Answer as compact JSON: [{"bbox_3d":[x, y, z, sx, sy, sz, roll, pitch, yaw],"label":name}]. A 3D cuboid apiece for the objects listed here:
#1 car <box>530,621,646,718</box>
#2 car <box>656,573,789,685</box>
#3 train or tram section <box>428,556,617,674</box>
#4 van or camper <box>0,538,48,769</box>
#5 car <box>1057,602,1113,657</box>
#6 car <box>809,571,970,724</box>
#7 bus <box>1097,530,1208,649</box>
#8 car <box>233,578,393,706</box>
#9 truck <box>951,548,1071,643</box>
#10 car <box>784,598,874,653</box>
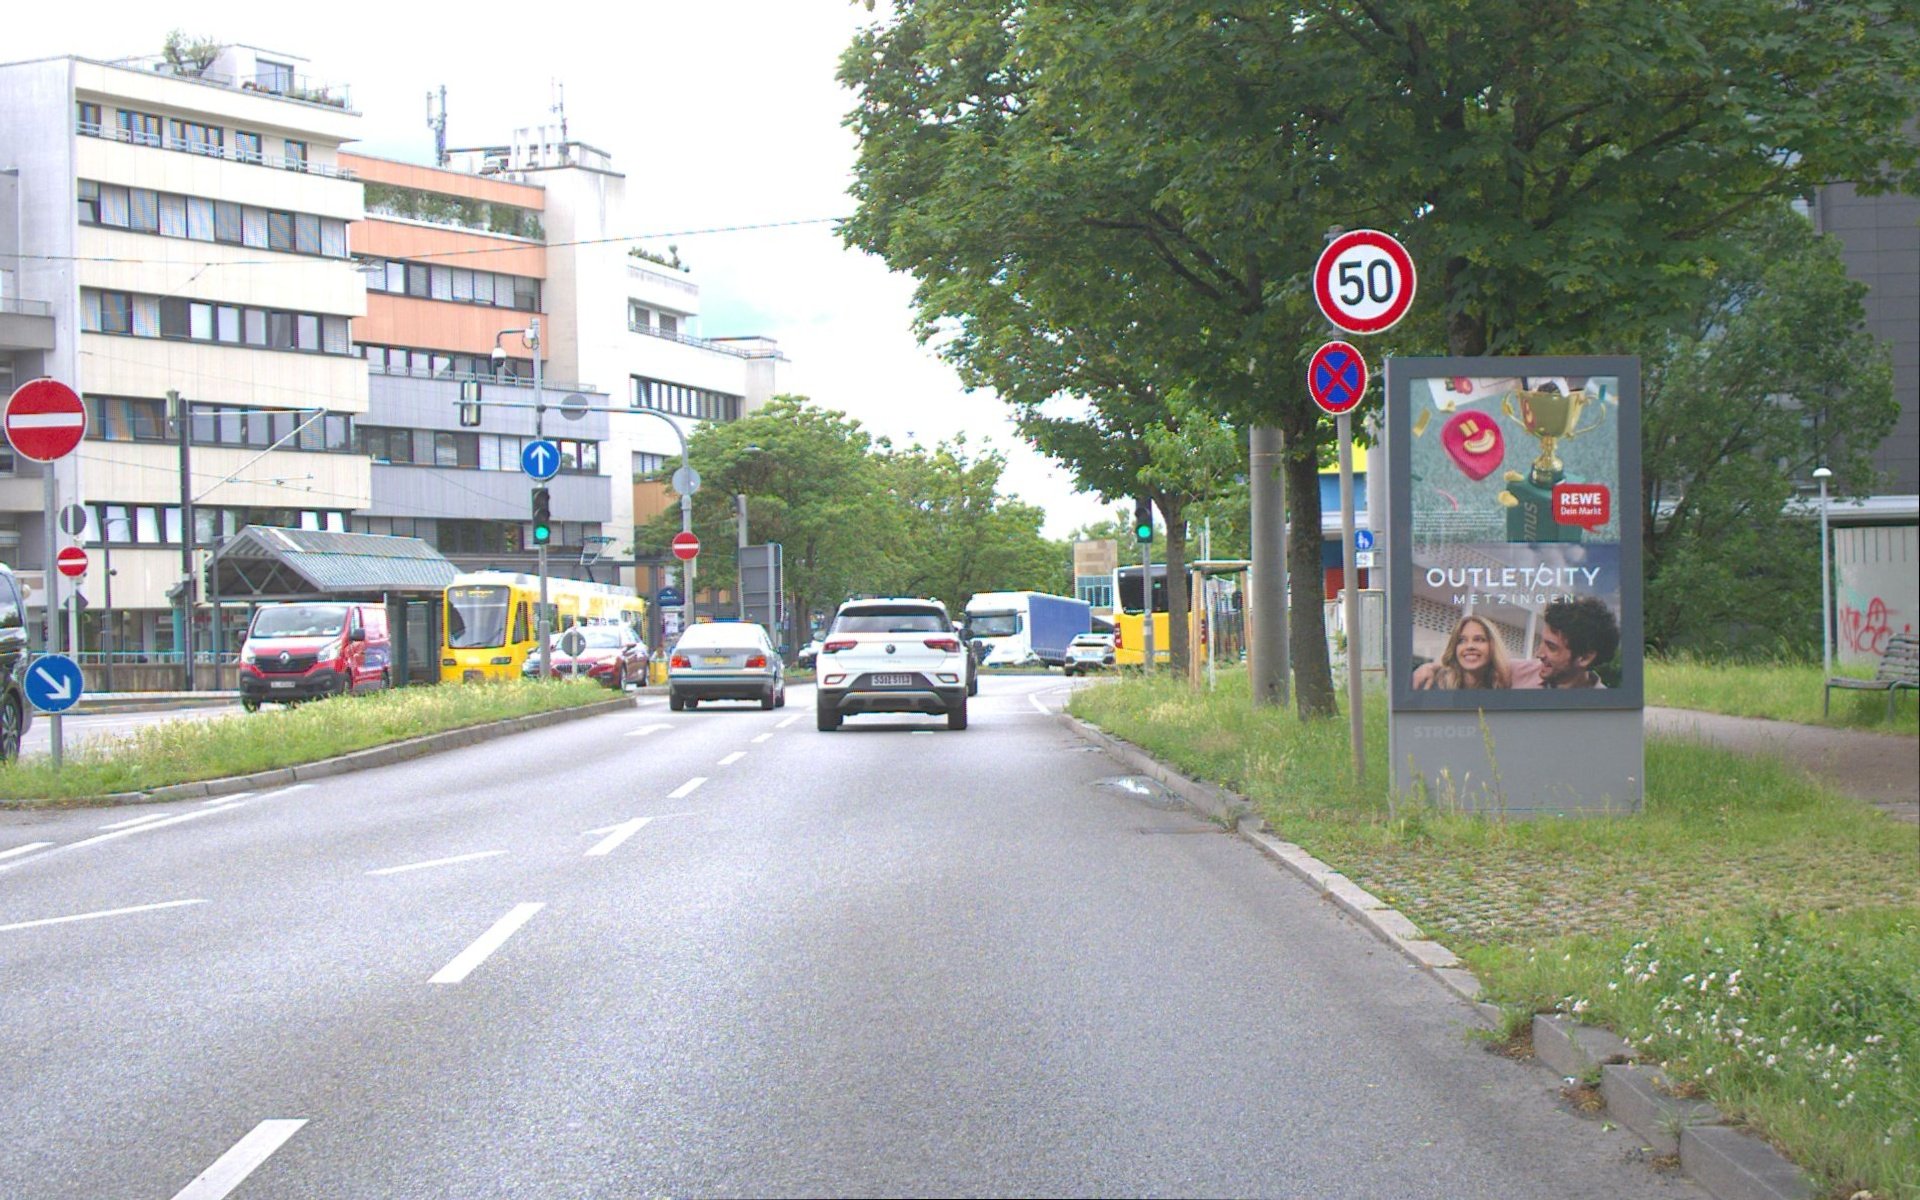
[{"bbox_3d":[-7.996,1.461,74.260,1.993,1.584,4.836,1,5,0],"label":"car"},{"bbox_3d":[-3.722,0.425,54.426,1.700,1.510,3.736,-1,3,2],"label":"car"},{"bbox_3d":[-13.469,0.479,107.174,2.560,3.399,13.078,-1,0,7],"label":"train or tram section"},{"bbox_3d":[-8.956,0.452,27.811,1.926,1.931,5.249,0,0,-2],"label":"van or camper"},{"bbox_3d":[4.146,0.981,114.709,1.770,1.565,4.285,-1,3,1],"label":"car"},{"bbox_3d":[-0.805,0.533,41.335,1.700,1.543,3.736,2,3,2],"label":"car"},{"bbox_3d":[5.568,-0.288,98.137,2.954,3.179,9.927,-1,0,4],"label":"bus"},{"bbox_3d":[-11.641,0.716,62.149,1.993,2.006,4.835,1,3,0],"label":"car"},{"bbox_3d":[2.456,-0.197,156.449,2.955,4.066,16.595,-1,0,10],"label":"truck"},{"bbox_3d":[-4.051,0.807,107.173,1.898,1.612,4.273,-1,-1,10],"label":"car"}]
